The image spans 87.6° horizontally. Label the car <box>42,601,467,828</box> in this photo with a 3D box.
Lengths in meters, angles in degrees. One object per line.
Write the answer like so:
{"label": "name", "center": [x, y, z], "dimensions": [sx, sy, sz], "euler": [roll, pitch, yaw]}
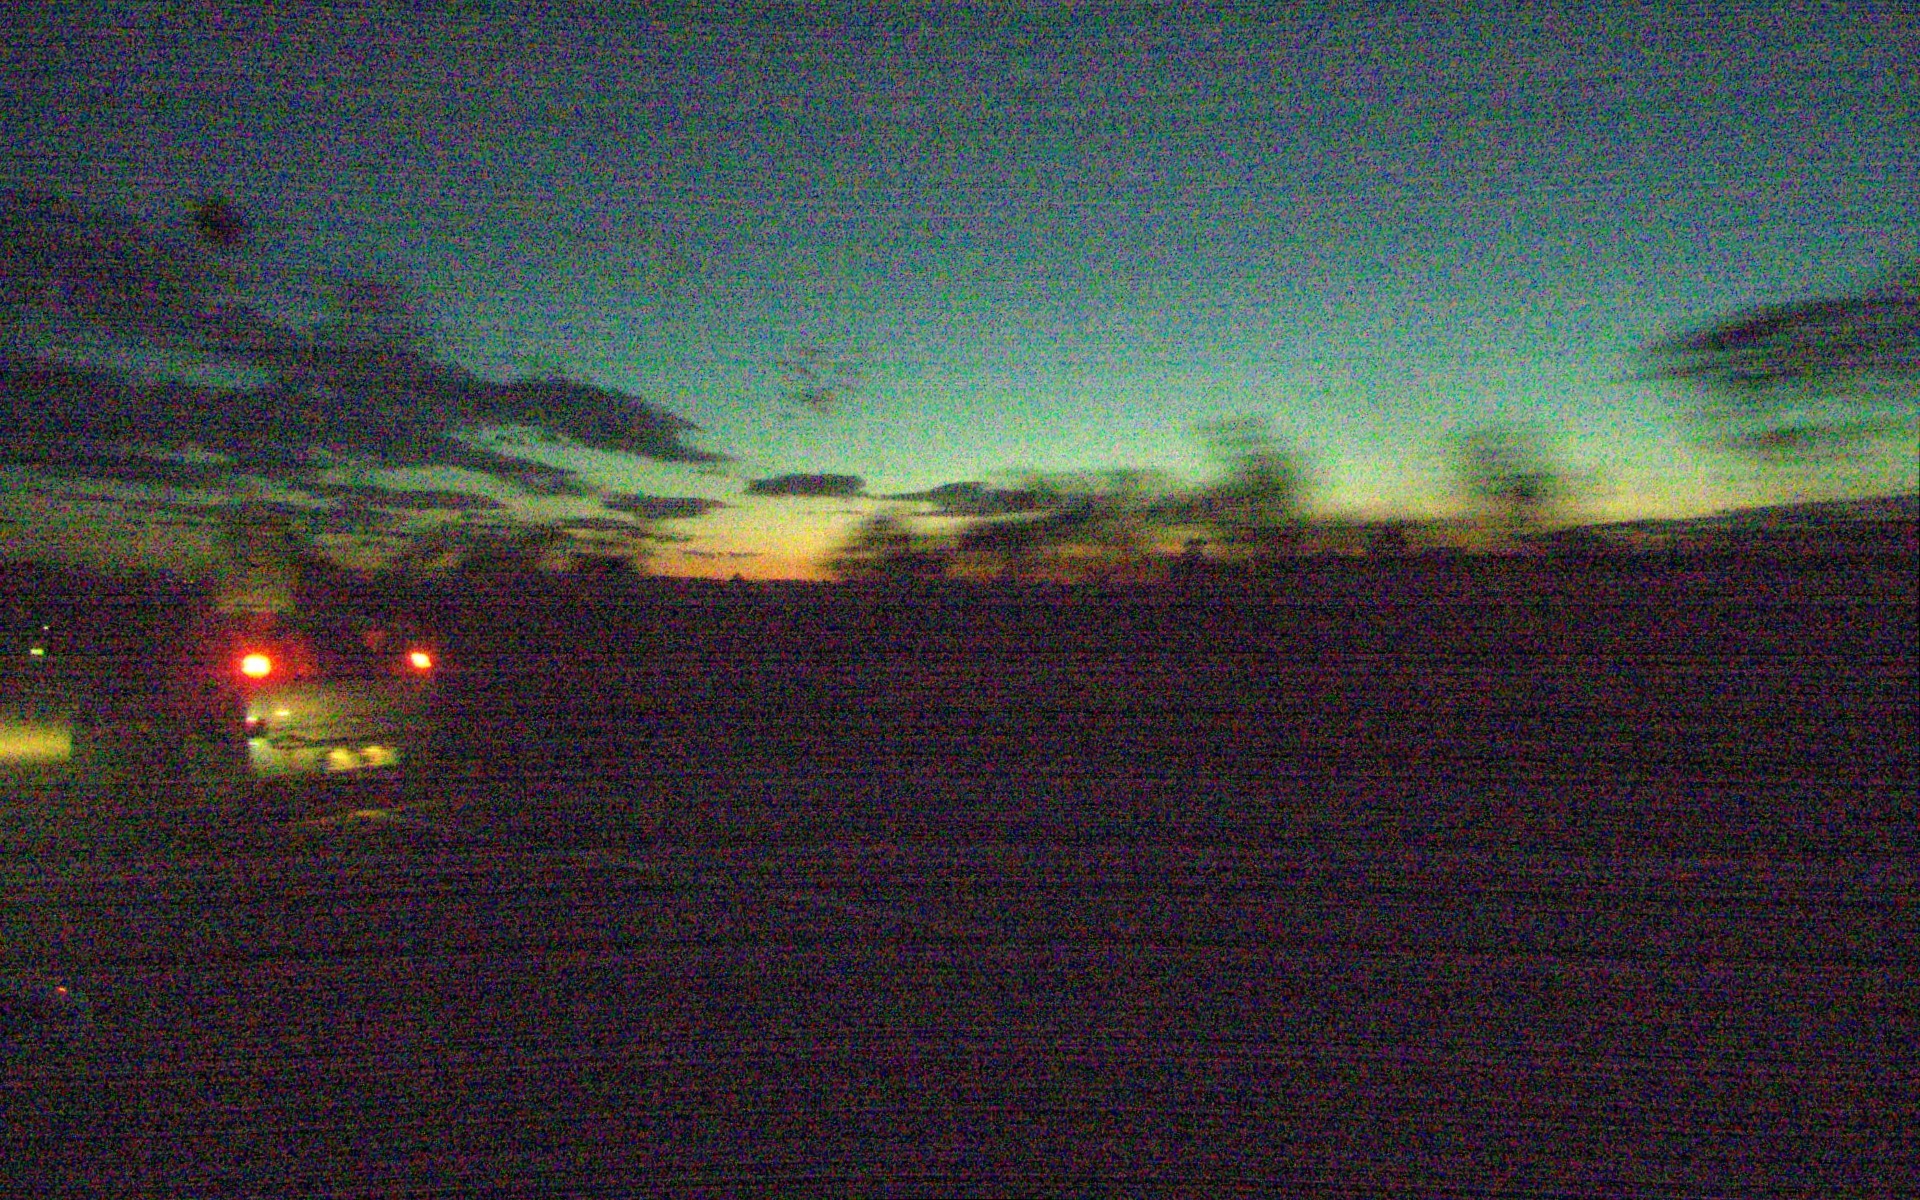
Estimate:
{"label": "car", "center": [-6.499, 0.863, 9.066], "dimensions": [4.446, 1.617, 1.643], "euler": [-1, -1, 33]}
